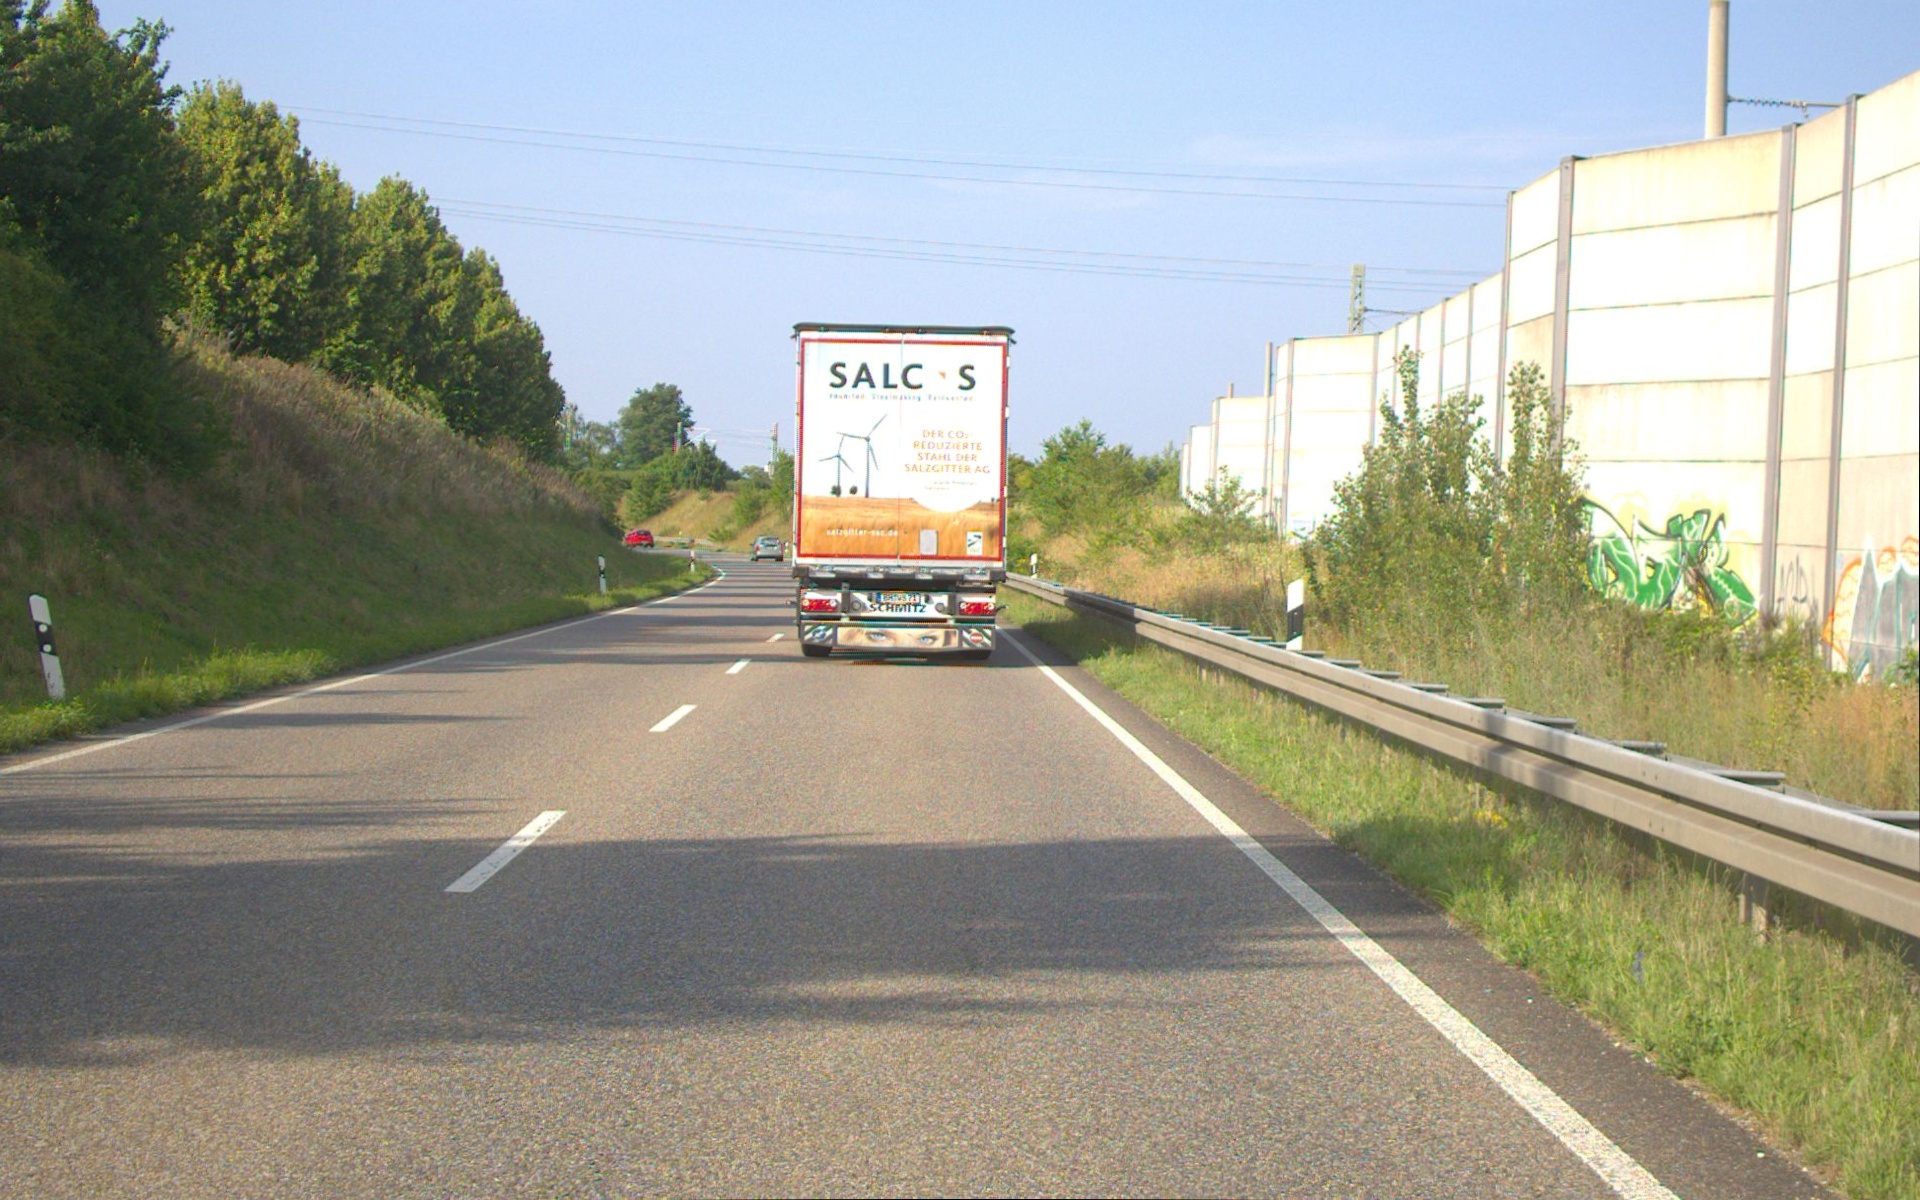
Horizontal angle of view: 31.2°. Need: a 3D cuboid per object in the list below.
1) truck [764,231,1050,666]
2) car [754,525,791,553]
[{"bbox_3d":[-0.890,-1.955,46.538,3.290,5.072,12.039,1,2,-3],"label":"truck"},{"bbox_3d":[-11.187,-3.657,205.327,2.046,1.576,4.360,1,1,-1],"label":"car"}]
